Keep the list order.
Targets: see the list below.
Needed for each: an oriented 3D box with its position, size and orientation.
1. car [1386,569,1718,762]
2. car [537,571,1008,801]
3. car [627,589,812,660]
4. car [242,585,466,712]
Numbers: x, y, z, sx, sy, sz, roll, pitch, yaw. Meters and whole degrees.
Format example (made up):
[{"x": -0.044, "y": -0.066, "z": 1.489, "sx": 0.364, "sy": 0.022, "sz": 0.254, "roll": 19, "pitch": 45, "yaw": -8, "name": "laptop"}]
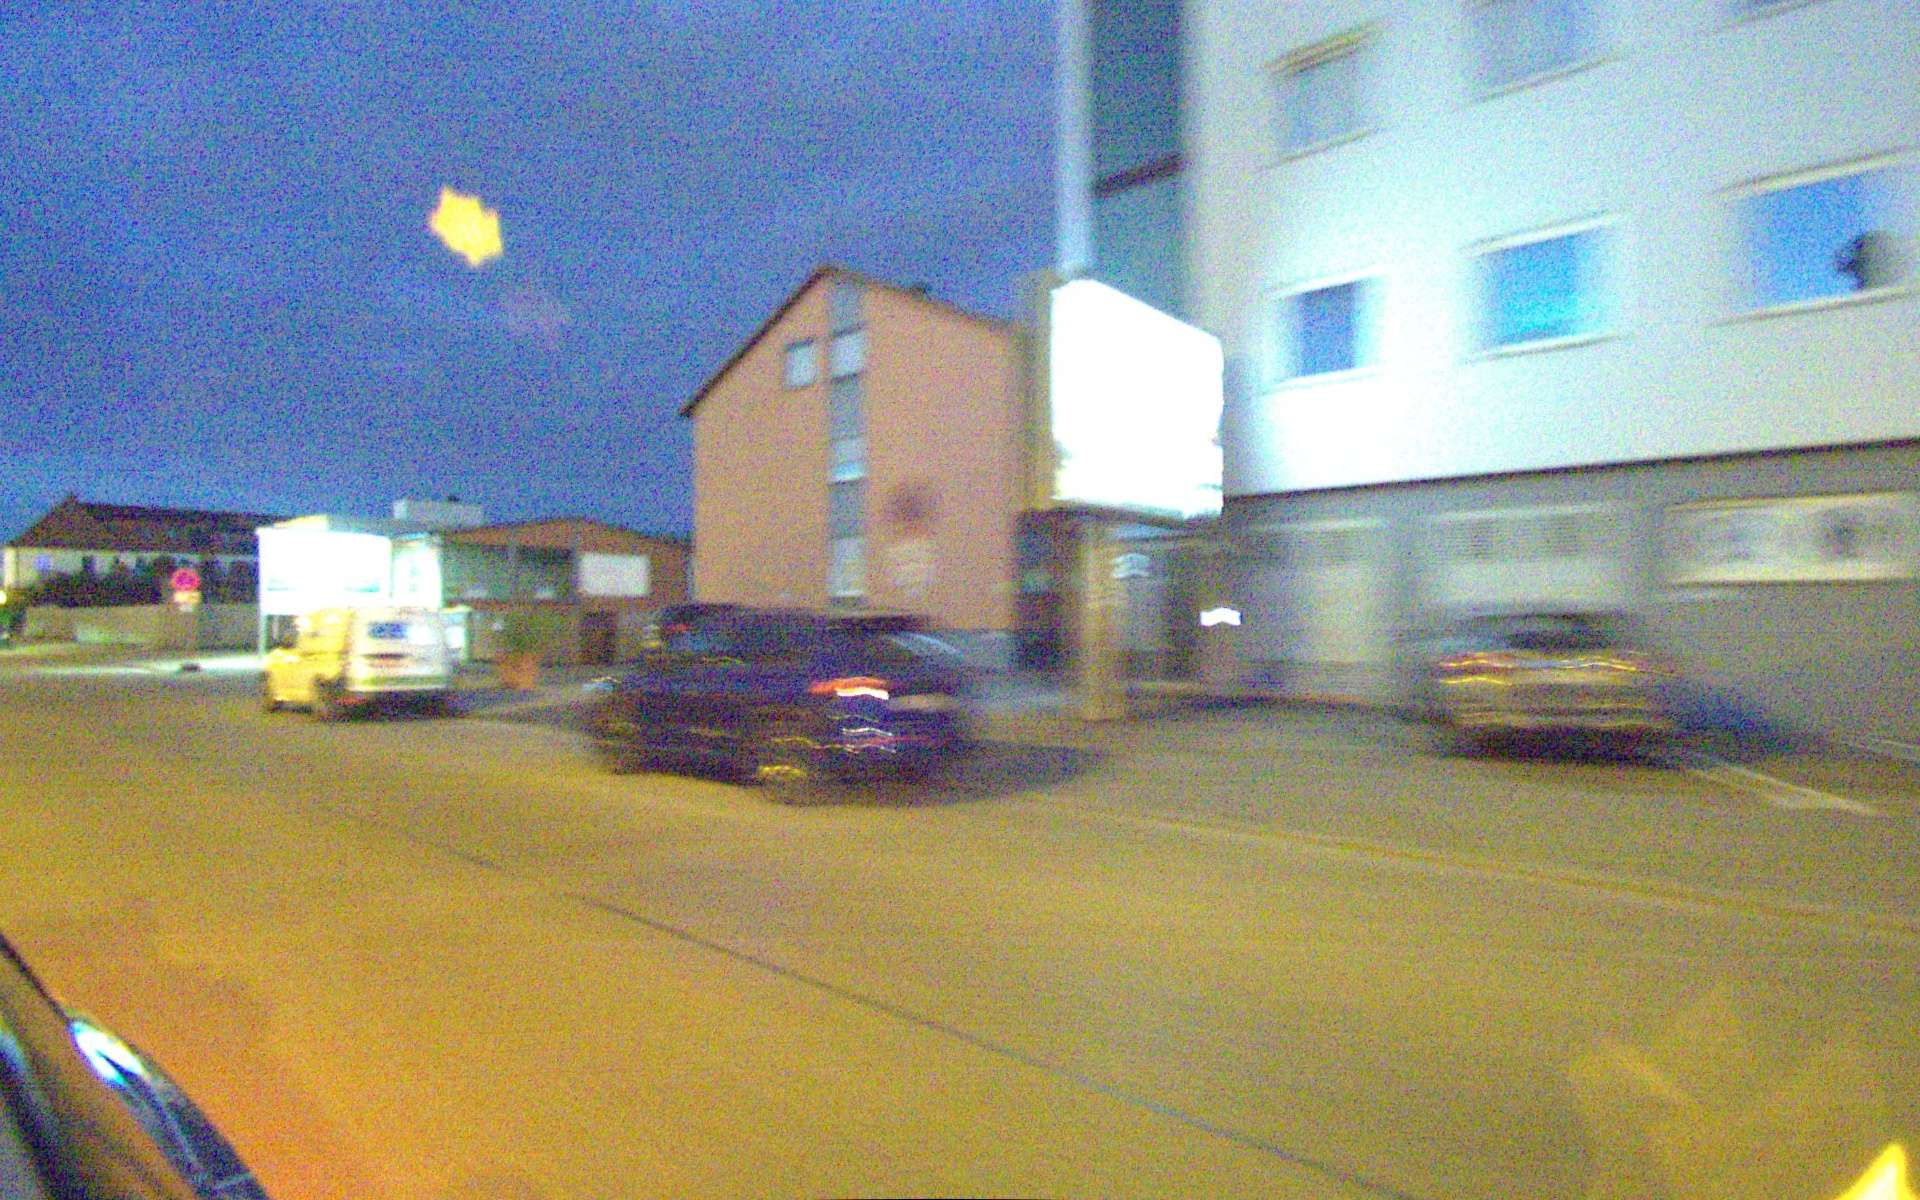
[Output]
[{"x": 5.842, "y": 0.561, "z": 10.658, "sx": 1.982, "sy": 1.571, "sz": 4.391, "roll": 0, "pitch": -1, "yaw": 16, "name": "car"}, {"x": -2.013, "y": 0.672, "z": 9.825, "sx": 4.813, "sy": 1.701, "sz": 1.927, "roll": -1, "pitch": -1, "yaw": 41, "name": "car"}, {"x": -6.126, "y": 0.604, "z": 26.136, "sx": 1.922, "sy": 1.666, "sz": 4.352, "roll": -1, "pitch": -1, "yaw": 43, "name": "car"}, {"x": -10.123, "y": 0.730, "z": 16.738, "sx": 4.876, "sy": 1.812, "sz": 1.785, "roll": -1, "pitch": -1, "yaw": 42, "name": "car"}]
